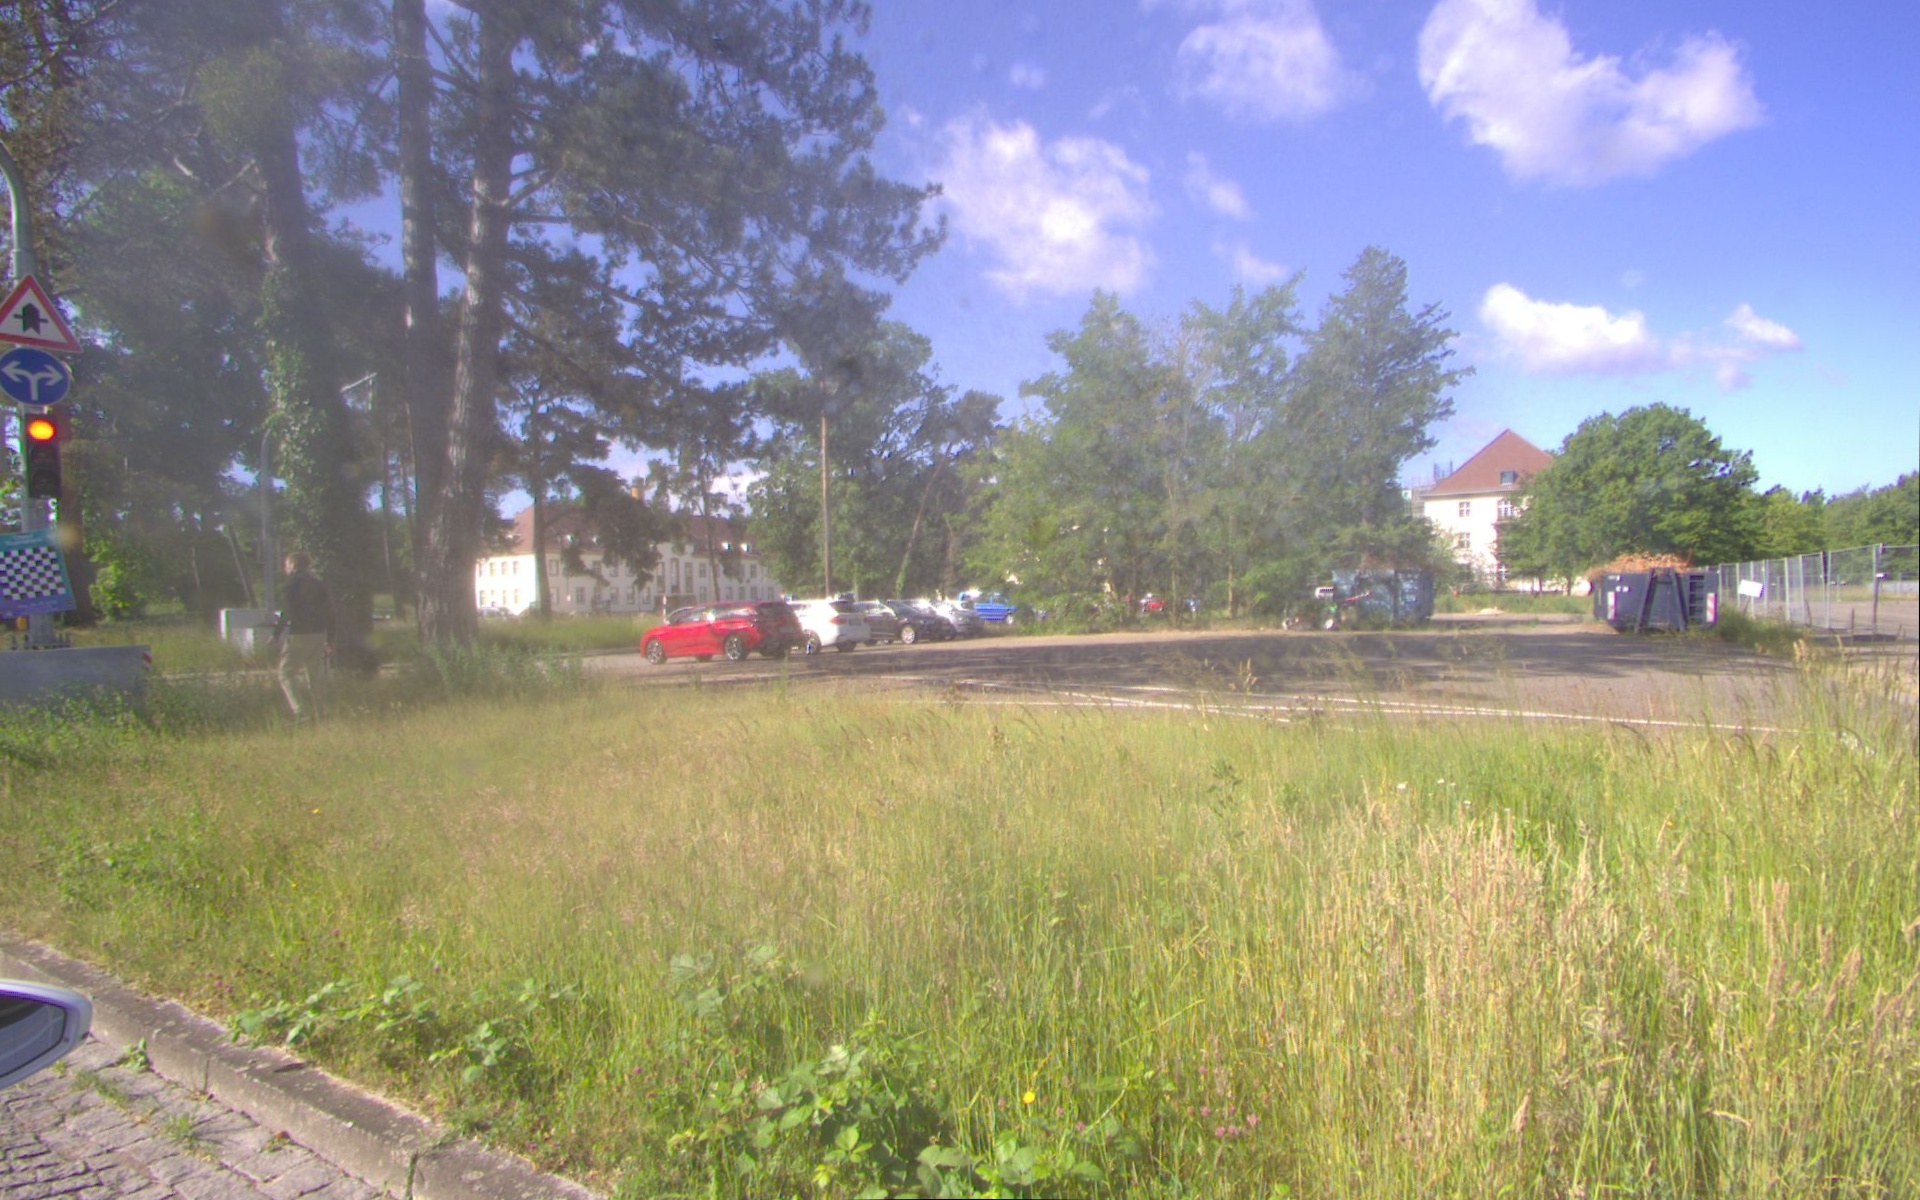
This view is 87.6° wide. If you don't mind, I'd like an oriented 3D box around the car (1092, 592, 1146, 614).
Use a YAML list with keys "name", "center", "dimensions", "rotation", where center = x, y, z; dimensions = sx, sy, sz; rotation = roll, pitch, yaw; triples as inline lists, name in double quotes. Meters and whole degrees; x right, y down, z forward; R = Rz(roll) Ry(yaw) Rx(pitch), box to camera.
- name: "car"
  center: [11.997, 0.268, 75.728]
  dimensions: [3.681, 1.568, 1.705]
  rotation: [-1, -1, 32]

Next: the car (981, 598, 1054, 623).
- name: "car"
  center: [3.510, 0.650, 61.517]
  dimensions: [4.180, 1.443, 1.720]
  rotation: [-1, -1, 32]

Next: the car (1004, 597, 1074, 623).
- name: "car"
  center: [5.053, 0.652, 64.119]
  dimensions: [4.180, 1.568, 1.720]
  rotation: [-1, -1, 32]

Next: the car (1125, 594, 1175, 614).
- name: "car"
  center: [15.655, 0.339, 82.627]
  dimensions: [3.681, 1.568, 1.705]
  rotation: [-1, -1, 32]

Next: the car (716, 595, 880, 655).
- name: "car"
  center: [-4.427, 0.687, 27.210]
  dimensions: [4.179, 1.396, 1.776]
  rotation: [-3, -1, 30]

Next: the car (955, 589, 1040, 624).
- name: "car"
  center: [2.189, 0.401, 59.193]
  dimensions: [4.676, 1.973, 1.982]
  rotation: [-1, -1, 32]

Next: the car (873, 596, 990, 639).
- name: "car"
  center: [-0.988, 0.606, 34.472]
  dimensions: [3.739, 1.390, 1.720]
  rotation: [-1, -1, 34]

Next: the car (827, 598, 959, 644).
- name: "car"
  center: [-2.138, 0.660, 31.776]
  dimensions: [3.987, 1.332, 1.612]
  rotation: [-1, 1, 33]

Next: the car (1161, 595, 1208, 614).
- name: "car"
  center: [19.635, 0.375, 87.543]
  dimensions: [3.681, 1.568, 1.705]
  rotation: [-1, -1, 32]

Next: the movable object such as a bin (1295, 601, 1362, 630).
- name: "movable object such as a bin"
  center: [10.505, 0.447, 28.534]
  dimensions: [1.696, 0.762, 1.143]
  rotation: [-1, 0, 25]

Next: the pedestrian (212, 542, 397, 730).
- name: "pedestrian"
  center: [-6.772, 0.351, 10.397]
  dimensions: [1.044, 1.820, 1.169]
  rotation: [-1, 1, 20]

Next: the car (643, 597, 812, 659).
- name: "car"
  center: [-5.759, 0.709, 24.649]
  dimensions: [4.071, 1.417, 1.652]
  rotation: [-2, -1, 32]

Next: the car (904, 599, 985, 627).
- name: "car"
  center: [-0.884, 0.712, 55.066]
  dimensions: [4.180, 1.487, 1.720]
  rotation: [-1, -1, 32]
